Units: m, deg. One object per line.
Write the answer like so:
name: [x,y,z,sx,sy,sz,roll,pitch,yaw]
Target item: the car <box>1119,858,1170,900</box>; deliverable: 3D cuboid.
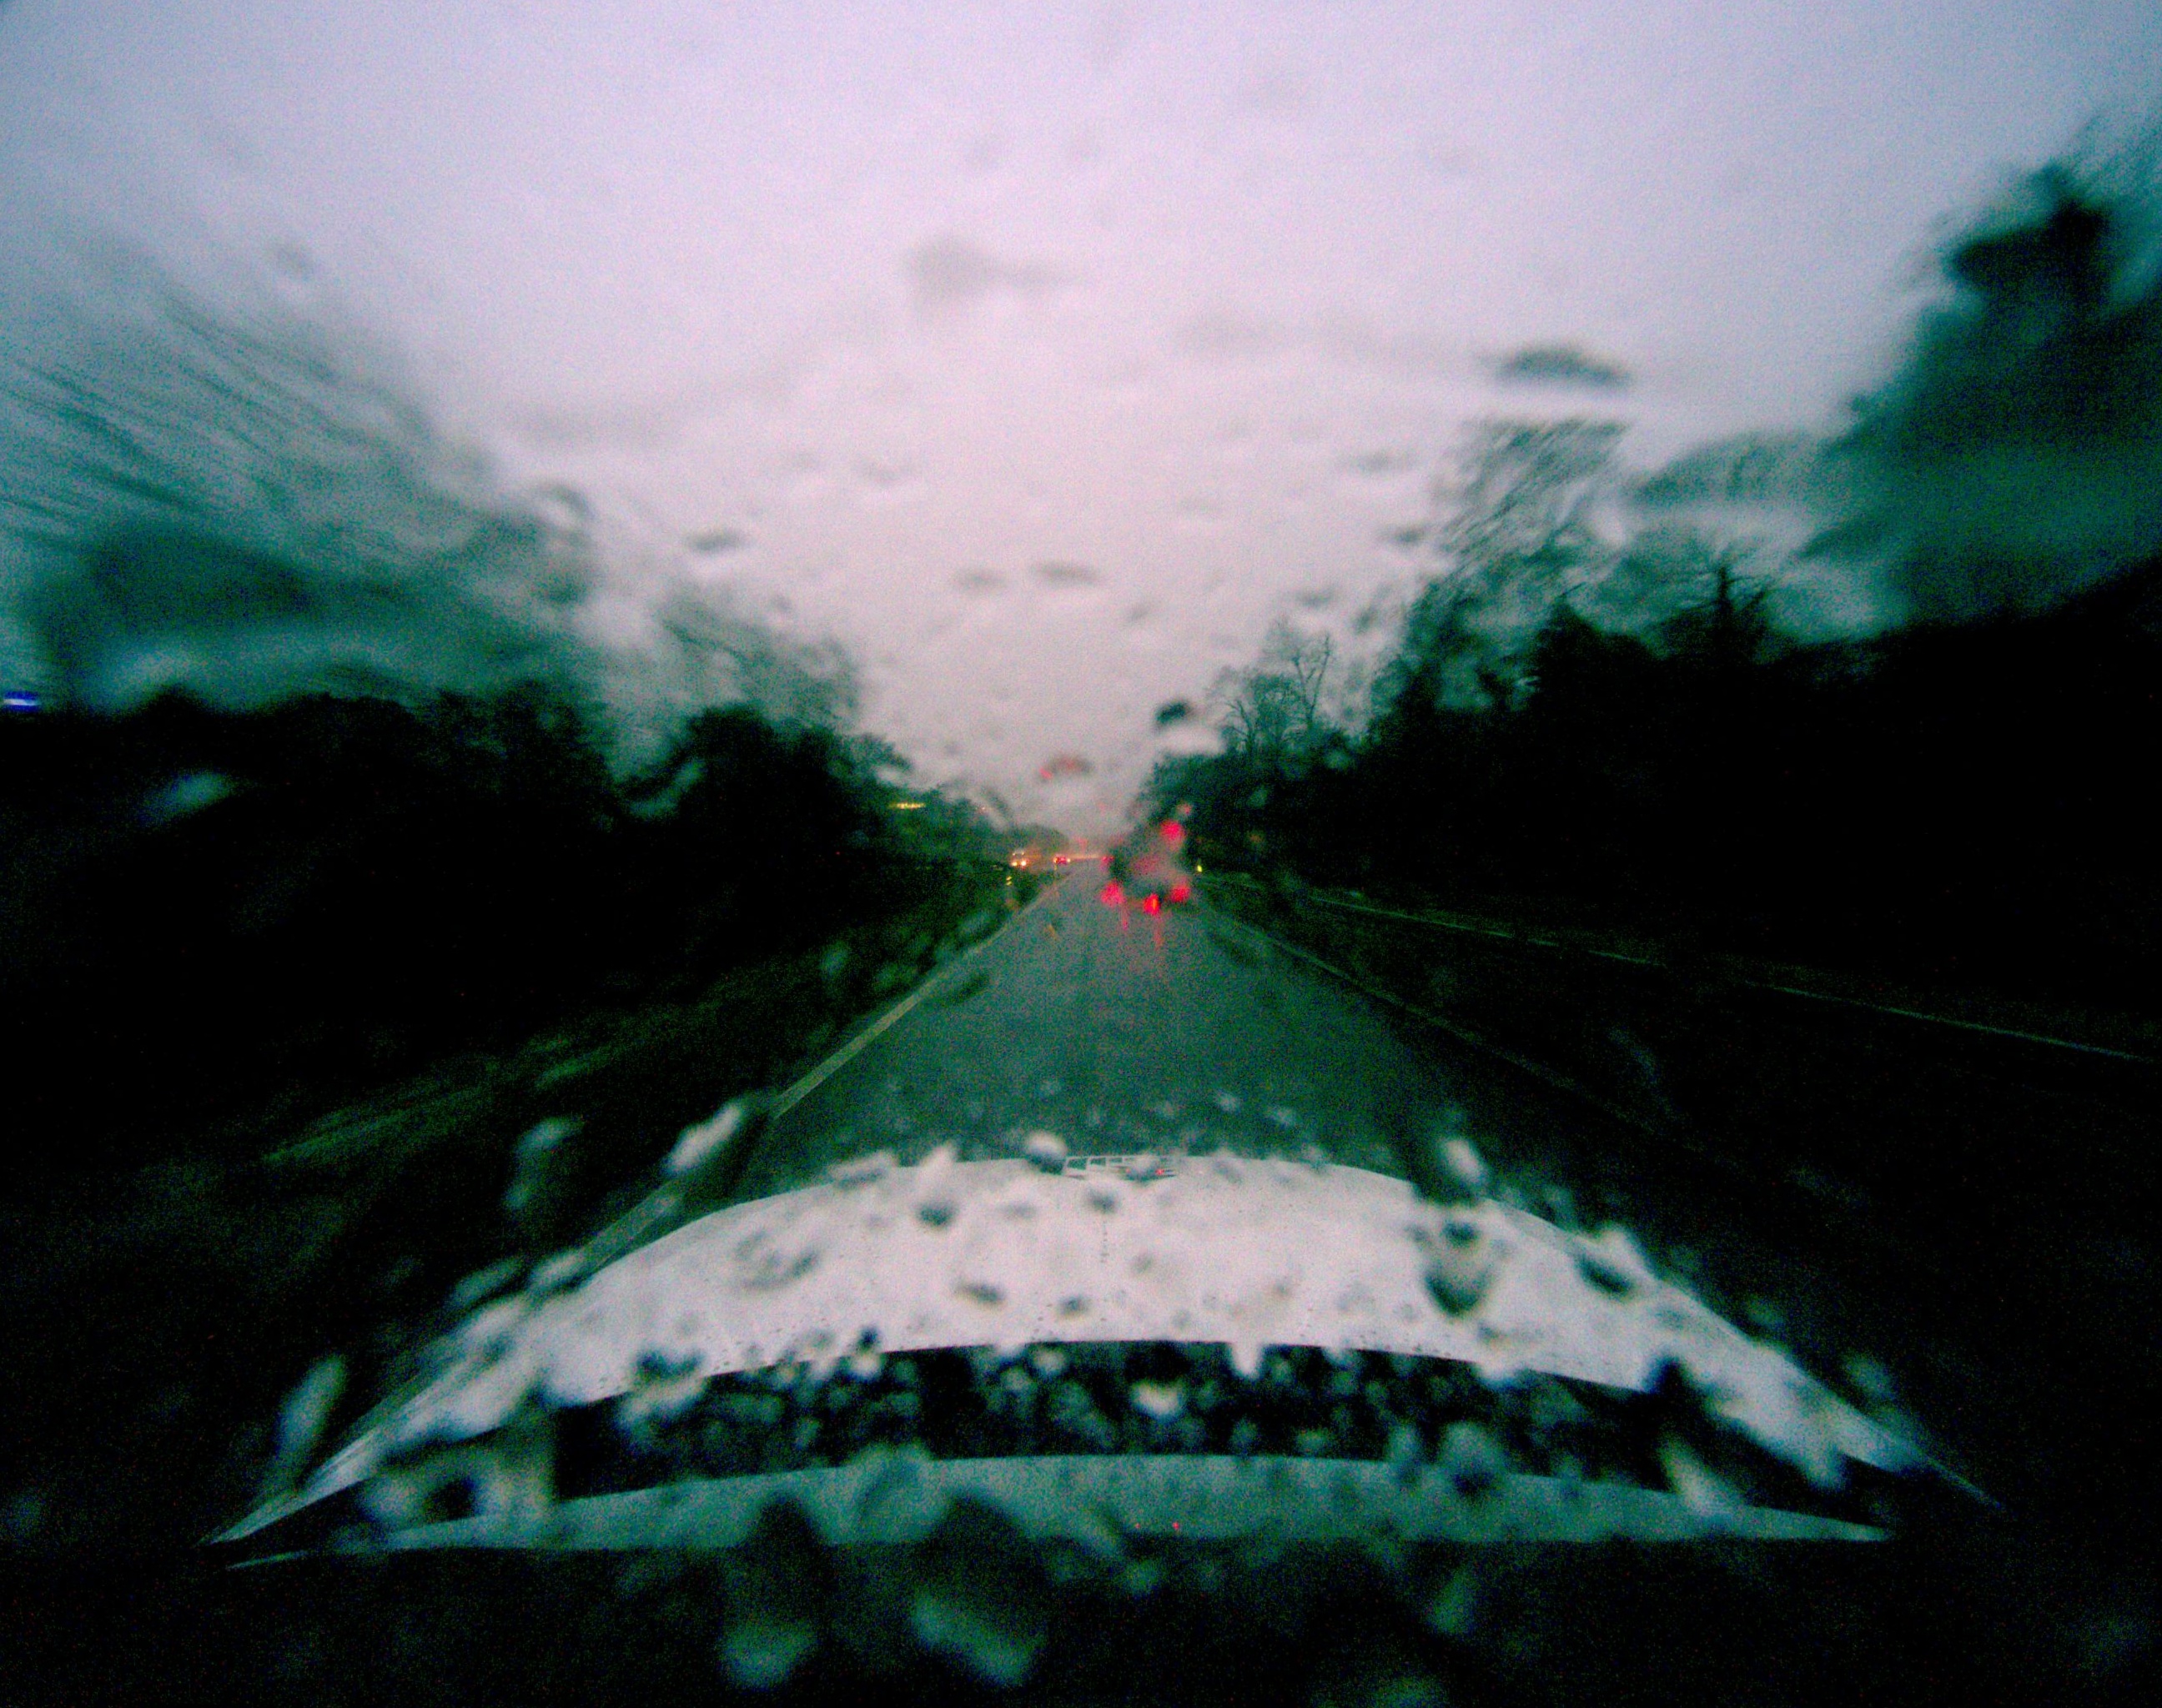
car: [2.332,0.904,30.688,1.725,1.429,3.767,2,0,2]
